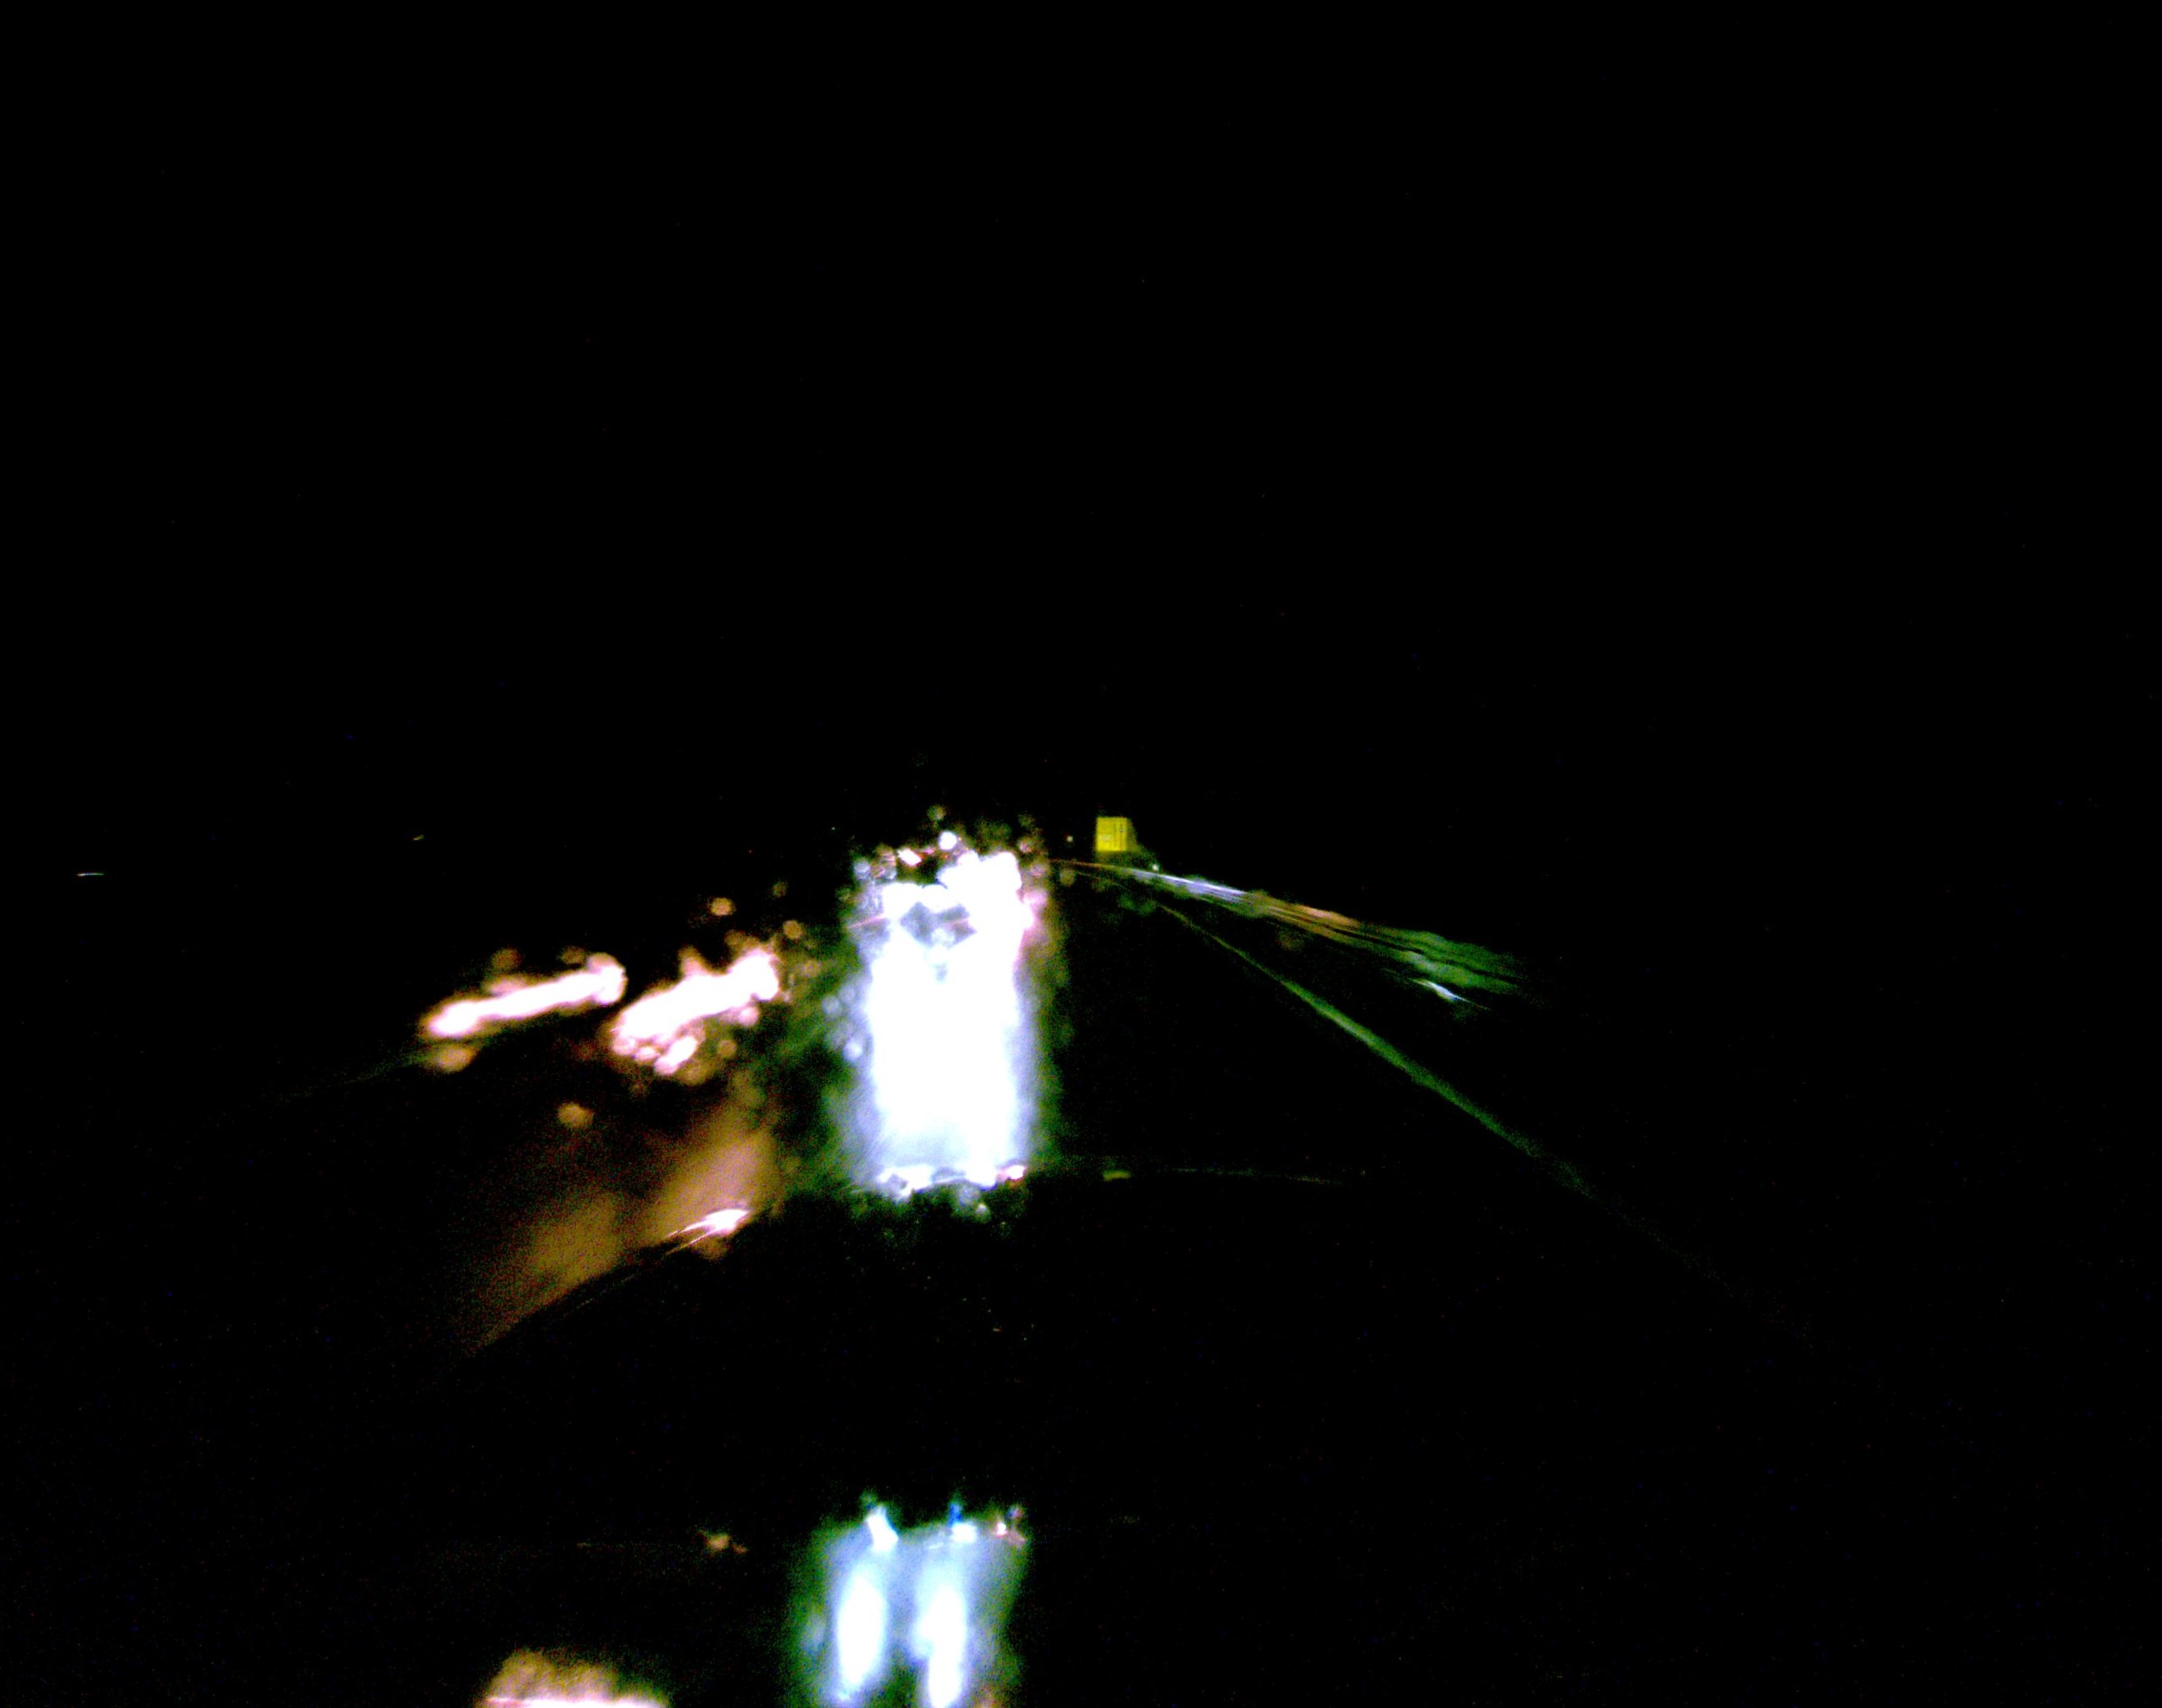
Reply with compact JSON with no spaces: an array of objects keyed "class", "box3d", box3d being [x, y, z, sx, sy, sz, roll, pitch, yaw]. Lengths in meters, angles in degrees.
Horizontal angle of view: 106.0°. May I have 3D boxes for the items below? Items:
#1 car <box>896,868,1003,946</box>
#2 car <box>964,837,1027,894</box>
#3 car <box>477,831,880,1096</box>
[{"class":"car","box3d":[-2.983,1.151,19.414,1.793,1.520,4.534,-2,0,0]},{"class":"car","box3d":[-3.256,0.429,31.648,1.987,2.075,3.999,-1,0,0]},{"class":"car","box3d":[-3.047,0.720,7.027,1.682,1.680,3.468,-1,0,1]}]
